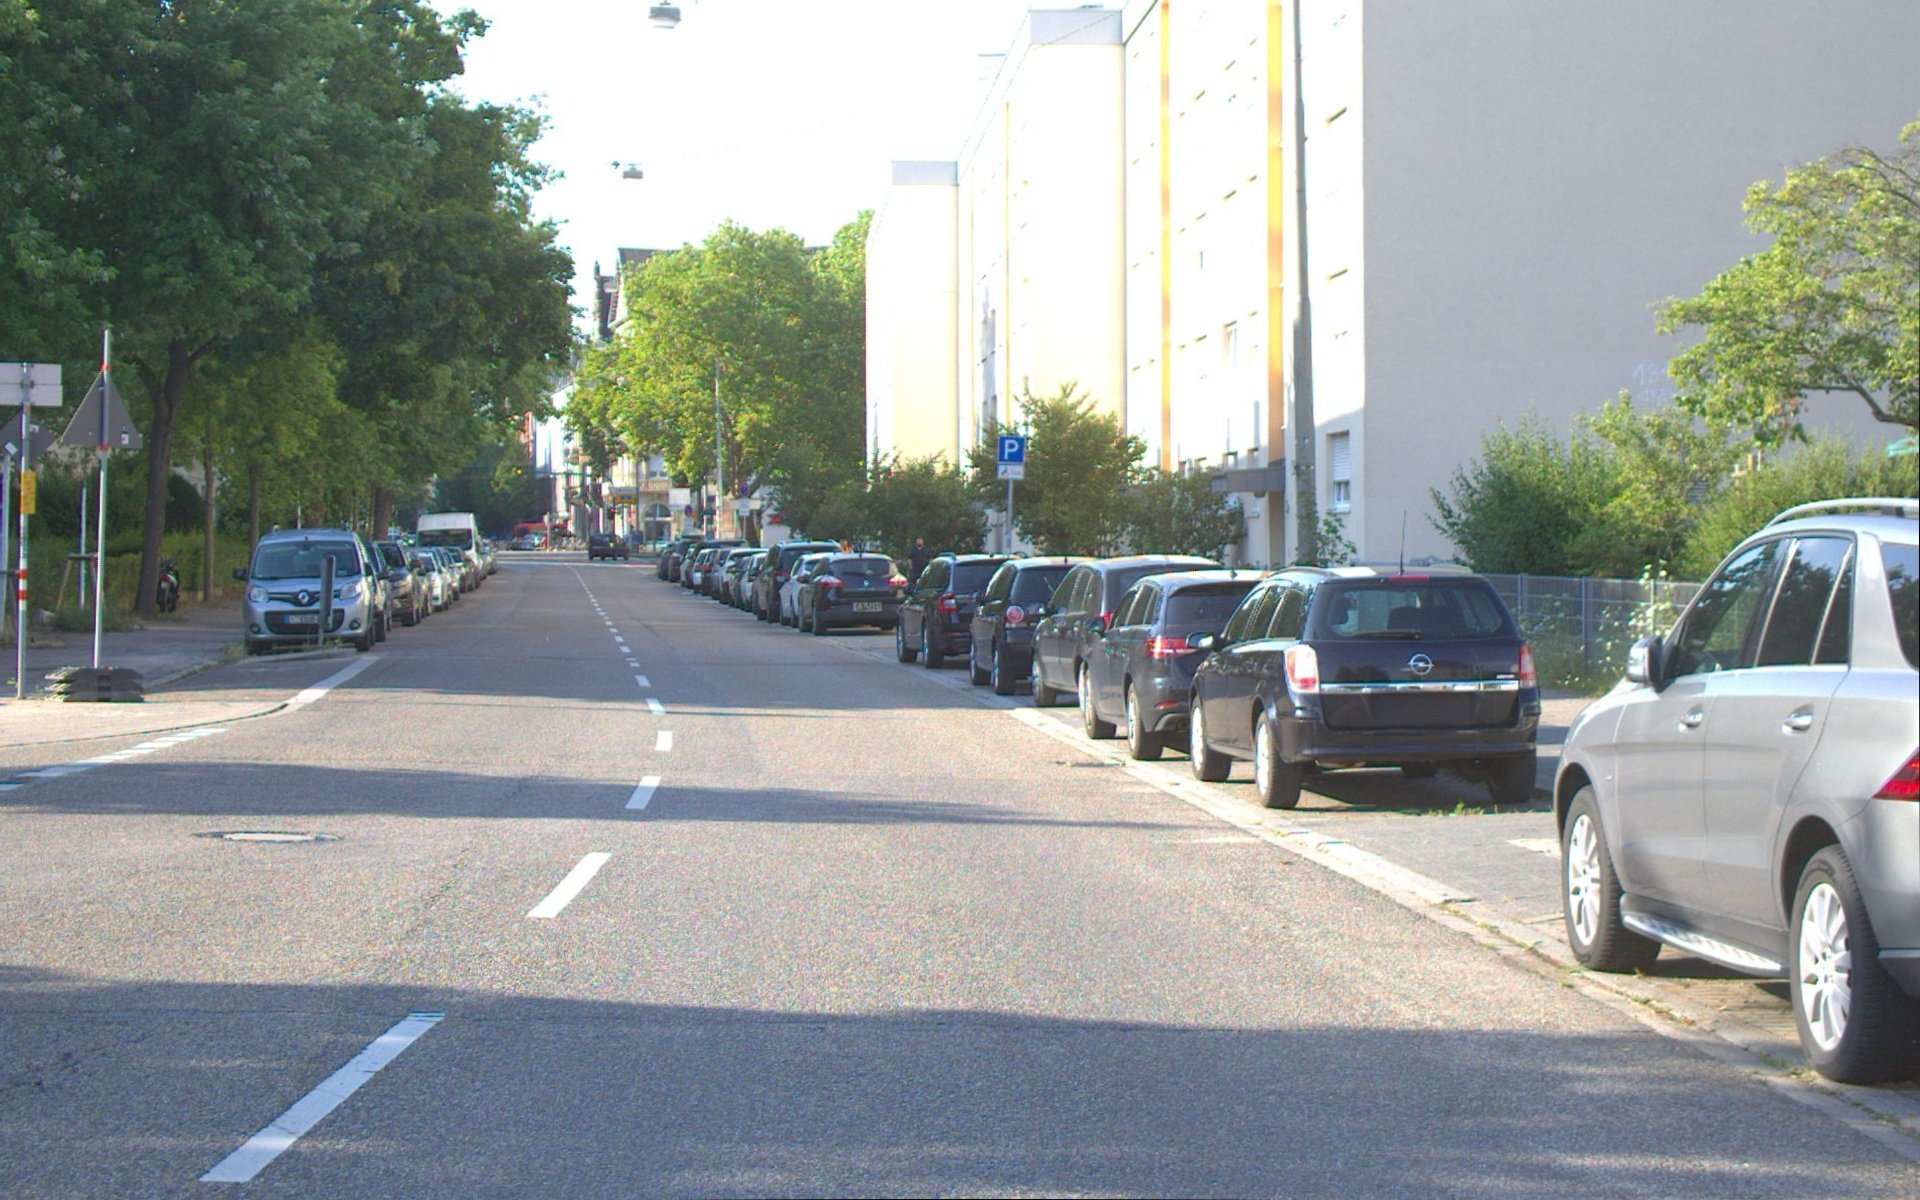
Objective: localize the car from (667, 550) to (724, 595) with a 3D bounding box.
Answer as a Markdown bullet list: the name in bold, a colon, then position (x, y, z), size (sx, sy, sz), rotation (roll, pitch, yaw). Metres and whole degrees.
- **car**: position (-10.491, -1.108, 136.122), size (1.897, 1.645, 4.344), rotation (3, 0, -8)

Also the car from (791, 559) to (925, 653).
- **car**: position (-1.927, 0.110, 63.366), size (1.798, 1.502, 4.623), rotation (6, -1, -9)

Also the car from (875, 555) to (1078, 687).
- **car**: position (0.148, 0.257, 45.764), size (1.886, 1.556, 4.947), rotation (-3, 1, -8)

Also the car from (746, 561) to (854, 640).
- **car**: position (-3.238, 0.010, 68.888), size (1.771, 1.503, 4.001), rotation (-2, 0, -8)

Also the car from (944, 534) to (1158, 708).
- **car**: position (0.960, 0.229, 38.697), size (1.901, 1.773, 4.582), rotation (2, 0, -4)

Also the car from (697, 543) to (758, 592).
- **car**: position (-7.666, -1.049, 113.143), size (1.837, 1.496, 4.173), rotation (2, 0, -6)

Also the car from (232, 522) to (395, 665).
- **car**: position (-9.415, -0.086, 50.375), size (1.841, 1.890, 4.488), rotation (3, 0, -6)

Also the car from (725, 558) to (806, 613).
- **car**: position (-5.510, -0.399, 96.843), size (1.873, 1.438, 4.001), rotation (2, 0, -8)

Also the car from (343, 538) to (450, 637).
- **car**: position (-10.732, -0.233, 65.654), size (1.873, 1.753, 4.691), rotation (2, 0, -8)

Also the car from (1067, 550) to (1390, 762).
- **car**: position (2.110, 0.434, 28.393), size (1.901, 1.524, 4.811), rotation (2, 0, -4)

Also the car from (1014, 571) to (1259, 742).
- **car**: position (1.653, 0.503, 33.472), size (1.650, 1.431, 3.961), rotation (0, 2, -8)

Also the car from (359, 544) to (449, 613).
- **car**: position (-13.280, -0.499, 82.261), size (2.004, 1.547, 4.472), rotation (2, 0, -8)

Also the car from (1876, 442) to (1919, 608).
- **car**: position (12.337, -0.741, 37.547), size (3.986, 1.788, 2.000), rotation (2, 0, -6)

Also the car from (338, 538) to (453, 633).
- **car**: position (-9.927, -0.248, 60.675), size (1.873, 1.547, 4.001), rotation (2, 0, -8)

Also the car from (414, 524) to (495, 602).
- **car**: position (-16.867, -1.215, 114.972), size (2.357, 2.437, 6.166), rotation (2, 0, -6)

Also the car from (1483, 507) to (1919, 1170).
- **car**: position (3.305, 0.599, 11.672), size (1.921, 1.773, 4.811), rotation (-3, 0, -4)

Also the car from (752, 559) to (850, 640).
- **car**: position (-3.467, -0.014, 74.207), size (1.771, 1.672, 4.647), rotation (1, 0, -7)

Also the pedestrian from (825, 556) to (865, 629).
- **pedestrian**: position (-3.048, -0.202, 90.853), size (0.888, 1.884, 1.279), rotation (2, 0, -6)

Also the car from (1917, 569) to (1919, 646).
- **car**: position (11.465, -0.364, 32.802), size (3.986, 1.788, 2.000), rotation (2, 0, -5)

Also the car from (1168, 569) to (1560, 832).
- **car**: position (2.541, 0.602, 22.667), size (1.741, 1.535, 4.440), rotation (-1, 0, -4)
